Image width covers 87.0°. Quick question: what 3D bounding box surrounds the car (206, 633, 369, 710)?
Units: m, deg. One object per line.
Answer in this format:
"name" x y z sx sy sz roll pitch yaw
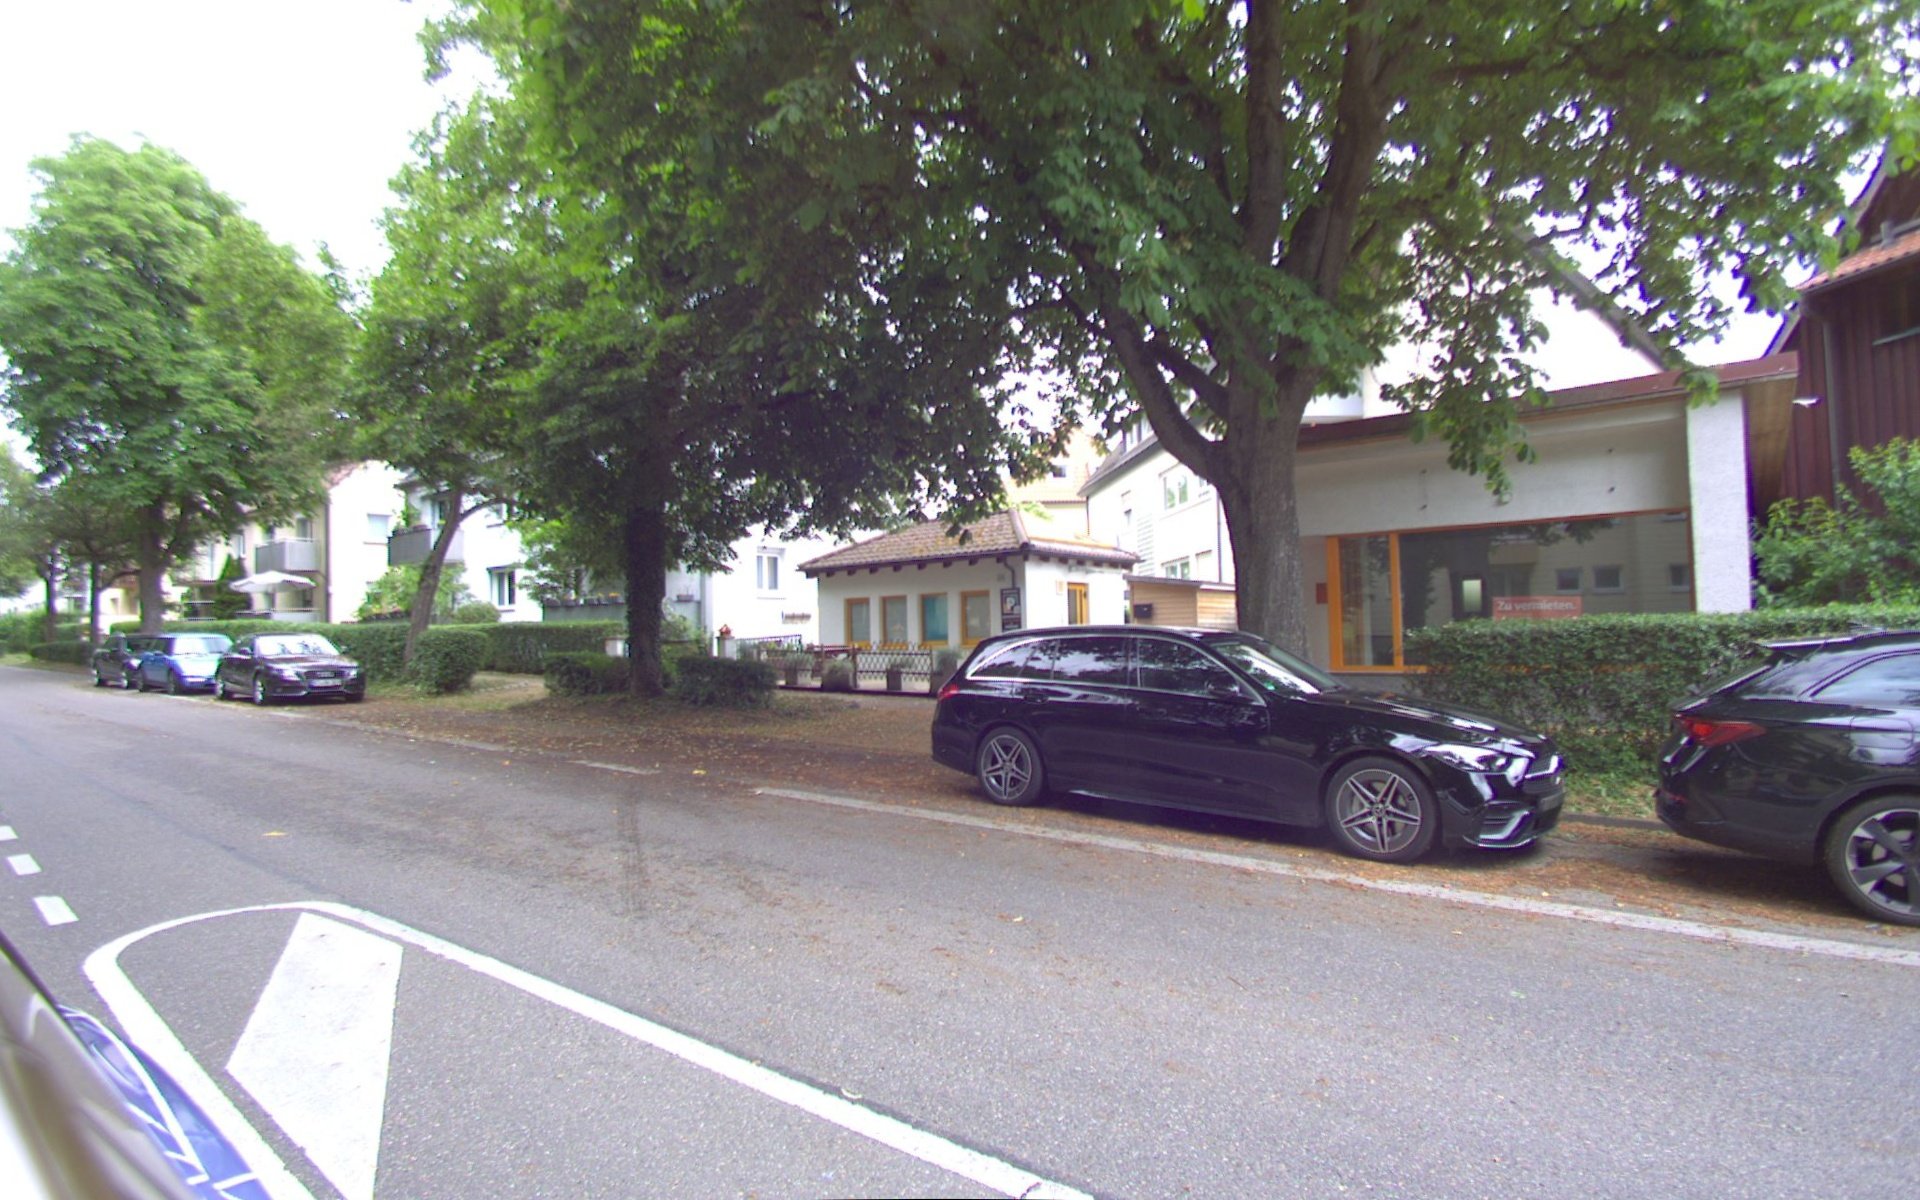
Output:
"car" -13.757 1.400 20.608 4.169 1.414 1.713 -2 -3 41

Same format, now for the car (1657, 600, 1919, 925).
"car" 5.949 0.736 4.547 4.536 1.497 1.674 -2 -3 38

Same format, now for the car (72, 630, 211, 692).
"car" -22.154 1.603 27.348 4.558 1.545 1.866 -2 -3 37

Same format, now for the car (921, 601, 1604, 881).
"car" 2.047 0.853 7.751 4.612 1.511 1.973 -2 -3 41

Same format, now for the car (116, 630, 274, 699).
"car" -18.459 1.496 24.364 4.558 1.512 1.866 -2 -3 37
